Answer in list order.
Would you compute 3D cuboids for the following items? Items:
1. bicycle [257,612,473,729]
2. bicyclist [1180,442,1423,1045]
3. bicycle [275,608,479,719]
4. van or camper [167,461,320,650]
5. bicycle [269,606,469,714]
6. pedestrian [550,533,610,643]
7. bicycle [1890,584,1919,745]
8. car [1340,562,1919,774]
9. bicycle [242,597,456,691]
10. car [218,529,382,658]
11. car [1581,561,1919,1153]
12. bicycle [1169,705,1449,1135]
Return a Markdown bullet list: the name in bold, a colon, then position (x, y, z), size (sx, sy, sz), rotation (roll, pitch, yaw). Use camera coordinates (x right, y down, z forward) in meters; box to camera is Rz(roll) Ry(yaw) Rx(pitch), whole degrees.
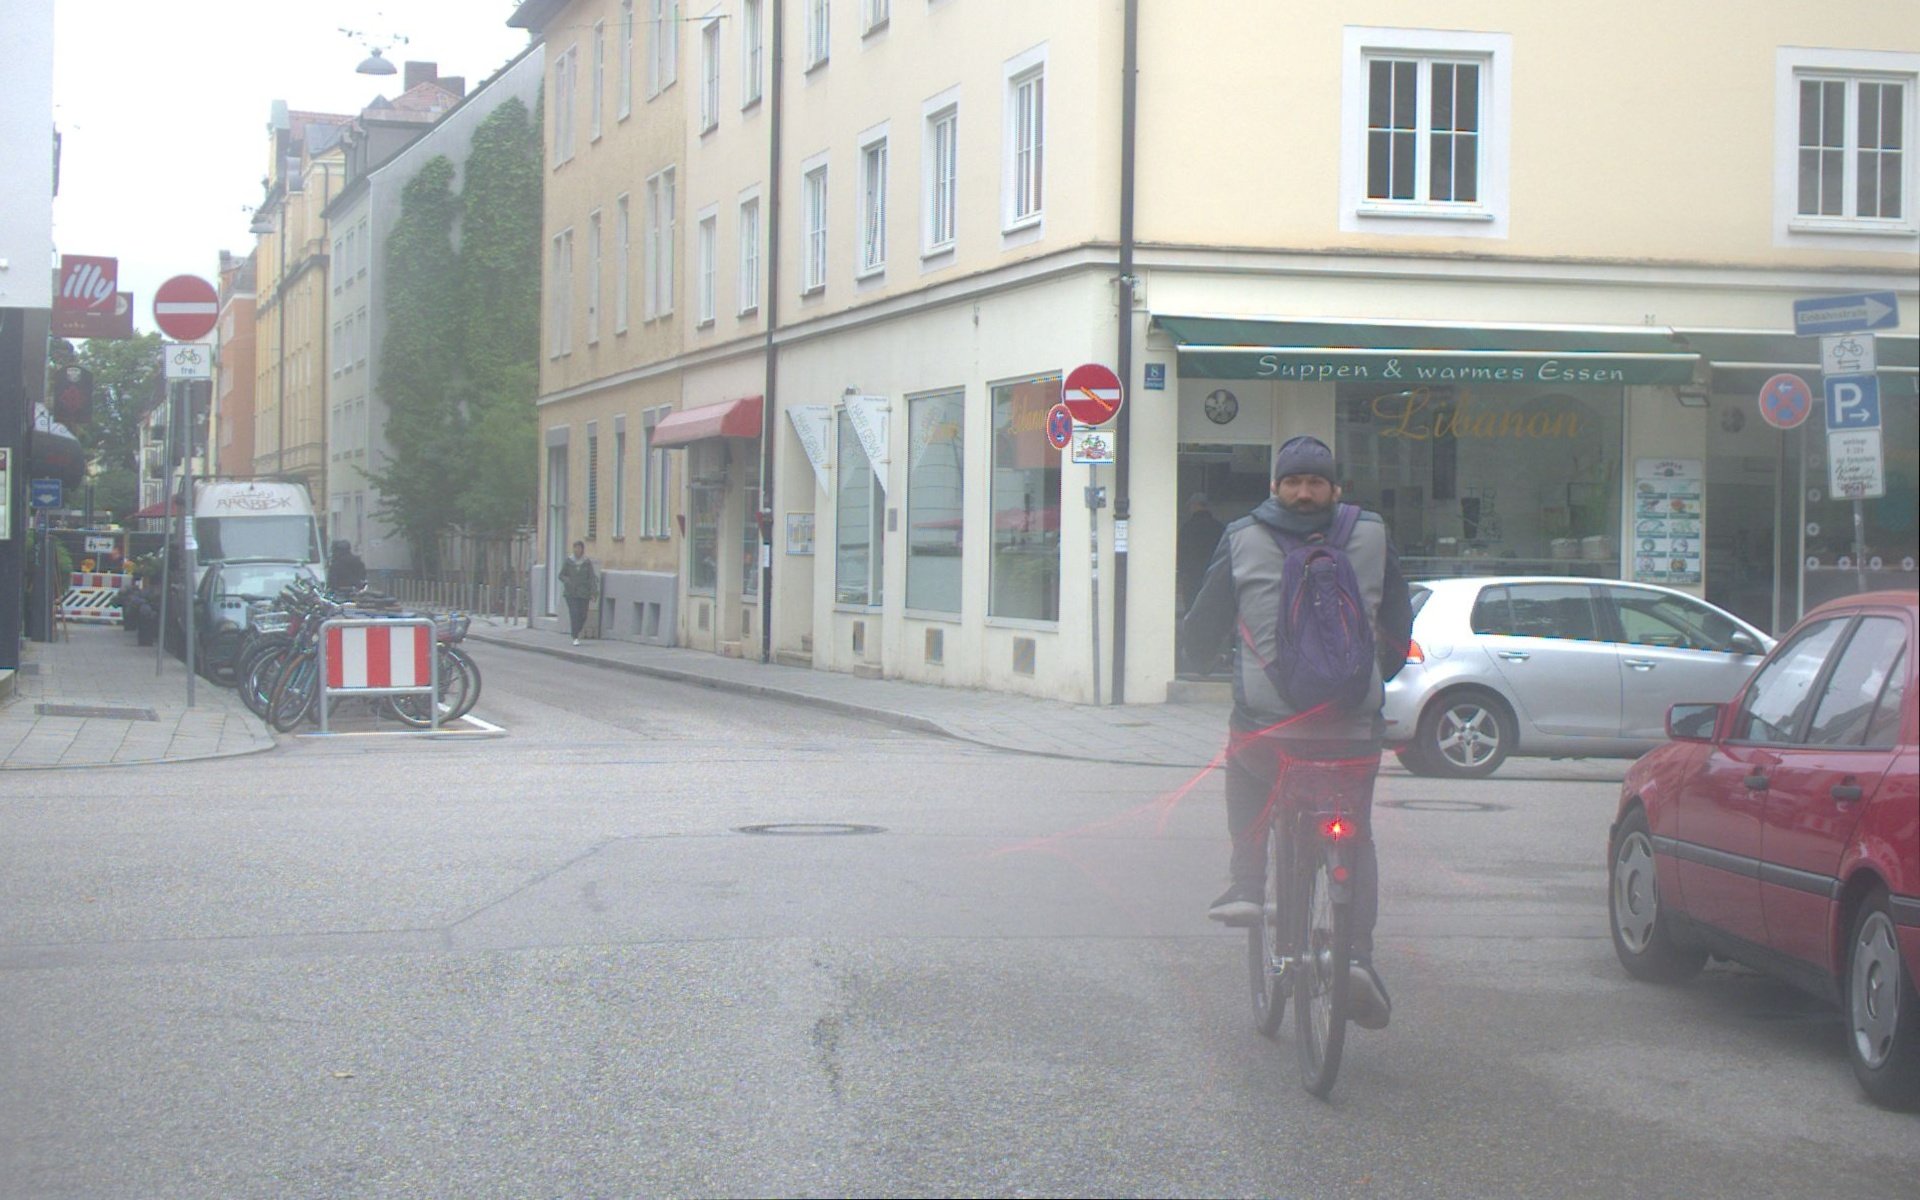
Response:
- **bicycle**: position (-5.087, 0.599, 29.394), size (1.754, 0.965, 0.595), rotation (0, 1, -17)
- **bicyclist**: position (0.932, 0.372, 9.525), size (0.606, 1.601, 0.757), rotation (1, 1, 2)
- **bicycle**: position (-5.221, 0.565, 30.774), size (1.735, 0.965, 0.543), rotation (0, 1, -17)
- **van or camper**: position (-10.155, -0.639, 48.597), size (1.993, 2.531, 4.762), rotation (0, 1, -12)
- **bicycle**: position (-5.392, 0.544, 31.379), size (1.735, 0.965, 0.543), rotation (0, 1, -17)
- **pedestrian**: position (-6.239, -0.201, 56.423), size (0.877, 1.772, 0.774), rotation (0, 1, -13)
- **bicycle**: position (8.638, 0.548, 27.316), size (2.081, 1.249, 1.107), rotation (2, 2, -10)
- **car**: position (4.878, 0.519, 25.072), size (3.987, 1.411, 1.820), rotation (1, -3, 0)
- **bicycle**: position (-5.766, 0.414, 32.440), size (1.910, 0.860, 0.619), rotation (0, 1, -18)
- **car**: position (-8.318, -0.110, 43.117), size (1.832, 1.530, 4.001), rotation (0, 1, -14)
- **car**: position (3.178, 0.645, 10.319), size (1.669, 1.430, 4.214), rotation (2, 1, -2)
- **bicycle**: position (0.926, 0.830, 9.441), size (0.639, 1.001, 1.574), rotation (1, 1, 2)
